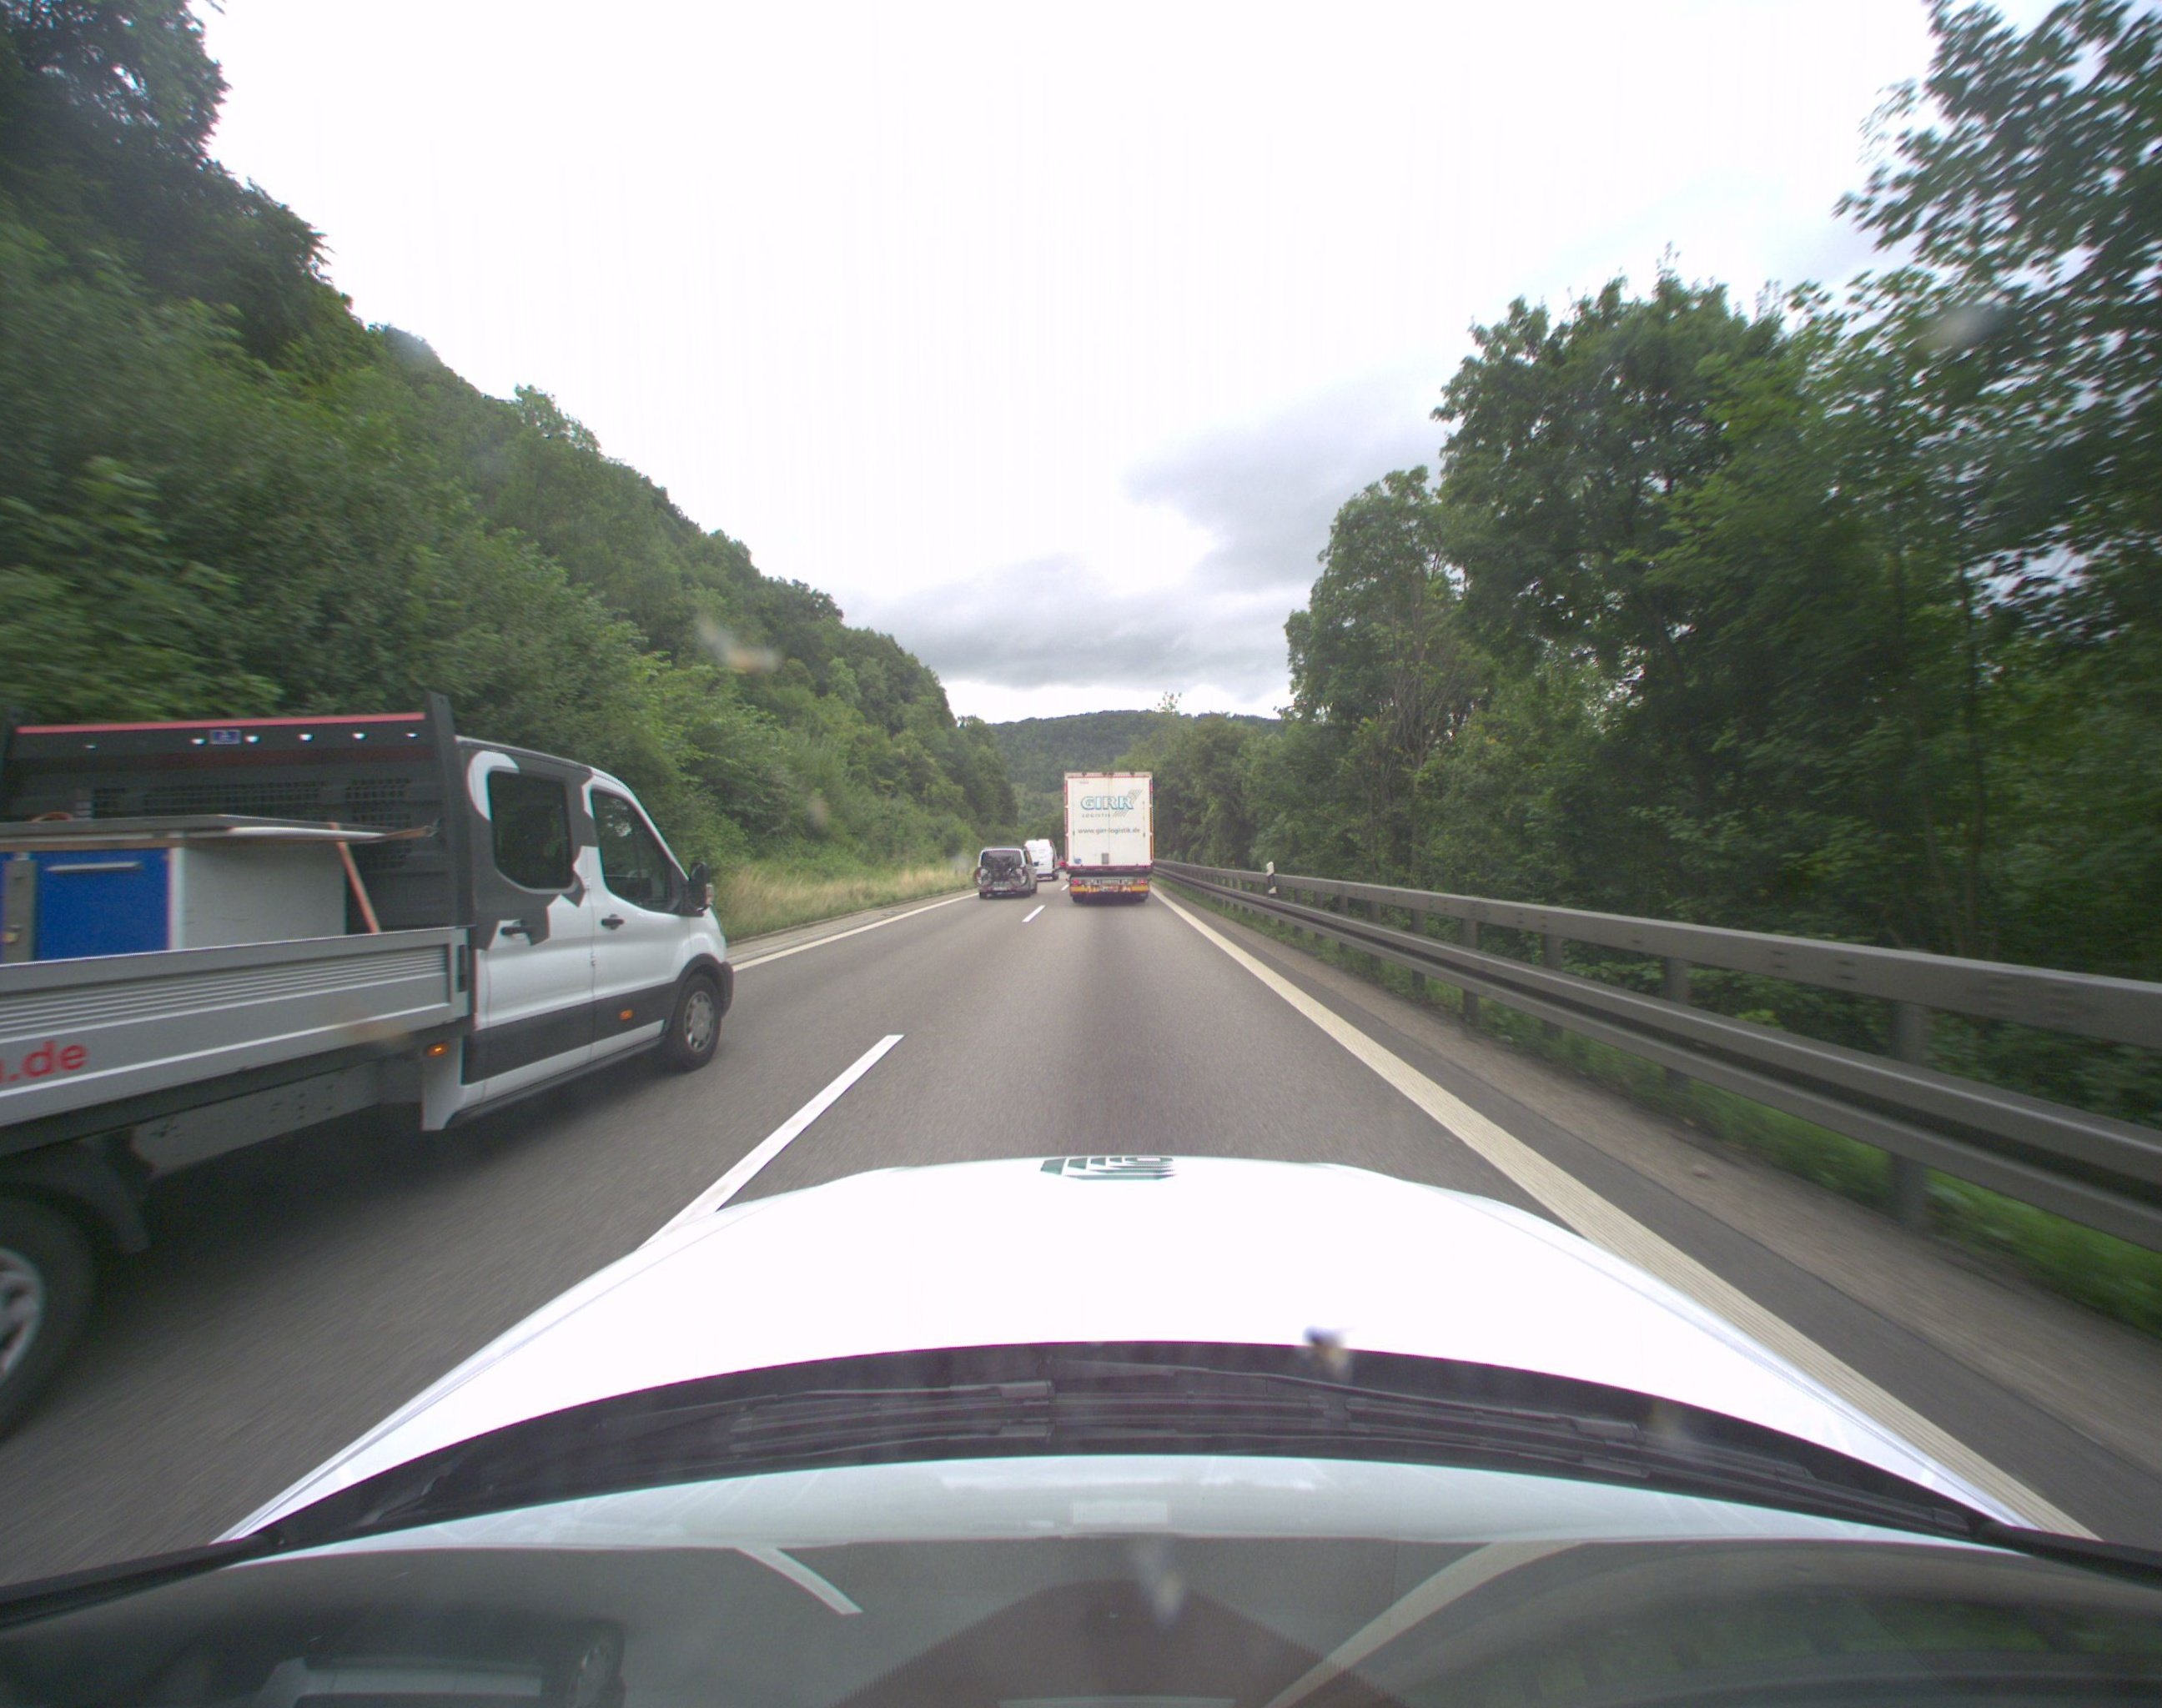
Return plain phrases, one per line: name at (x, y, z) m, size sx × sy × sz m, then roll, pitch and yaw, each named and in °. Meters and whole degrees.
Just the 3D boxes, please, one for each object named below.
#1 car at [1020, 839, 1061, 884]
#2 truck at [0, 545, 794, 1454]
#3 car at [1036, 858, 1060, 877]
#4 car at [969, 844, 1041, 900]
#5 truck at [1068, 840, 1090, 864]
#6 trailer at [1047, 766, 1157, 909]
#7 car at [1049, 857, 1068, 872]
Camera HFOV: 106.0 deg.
car at (-2.496, 0.464, 51.675) m, size 2.117 × 2.598 × 5.563 m, roll -3°, pitch 0°, yaw 0°
truck at (-3.869, 0.415, 4.066) m, size 2.341 × 2.274 × 6.848 m, roll -2°, pitch -1°, yaw 0°
car at (-2.721, 1.104, 67.959) m, size 1.677 × 1.514 × 3.766 m, roll -2°, pitch -1°, yaw 2°
car at (-2.809, 0.644, 31.386) m, size 2.010 × 1.914 × 5.565 m, roll -2°, pitch 0°, yaw 2°
truck at (-0.413, -0.225, 138.783) m, size 3.063 × 3.877 × 8.444 m, roll -2°, pitch -1°, yaw -4°
trailer at (0.759, -0.455, 27.995) m, size 3.121 × 4.043 × 9.443 m, roll 0°, pitch 0°, yaw 2°
car at (-2.321, 1.048, 84.660) m, size 1.677 × 1.452 × 3.766 m, roll -3°, pitch 0°, yaw 1°
